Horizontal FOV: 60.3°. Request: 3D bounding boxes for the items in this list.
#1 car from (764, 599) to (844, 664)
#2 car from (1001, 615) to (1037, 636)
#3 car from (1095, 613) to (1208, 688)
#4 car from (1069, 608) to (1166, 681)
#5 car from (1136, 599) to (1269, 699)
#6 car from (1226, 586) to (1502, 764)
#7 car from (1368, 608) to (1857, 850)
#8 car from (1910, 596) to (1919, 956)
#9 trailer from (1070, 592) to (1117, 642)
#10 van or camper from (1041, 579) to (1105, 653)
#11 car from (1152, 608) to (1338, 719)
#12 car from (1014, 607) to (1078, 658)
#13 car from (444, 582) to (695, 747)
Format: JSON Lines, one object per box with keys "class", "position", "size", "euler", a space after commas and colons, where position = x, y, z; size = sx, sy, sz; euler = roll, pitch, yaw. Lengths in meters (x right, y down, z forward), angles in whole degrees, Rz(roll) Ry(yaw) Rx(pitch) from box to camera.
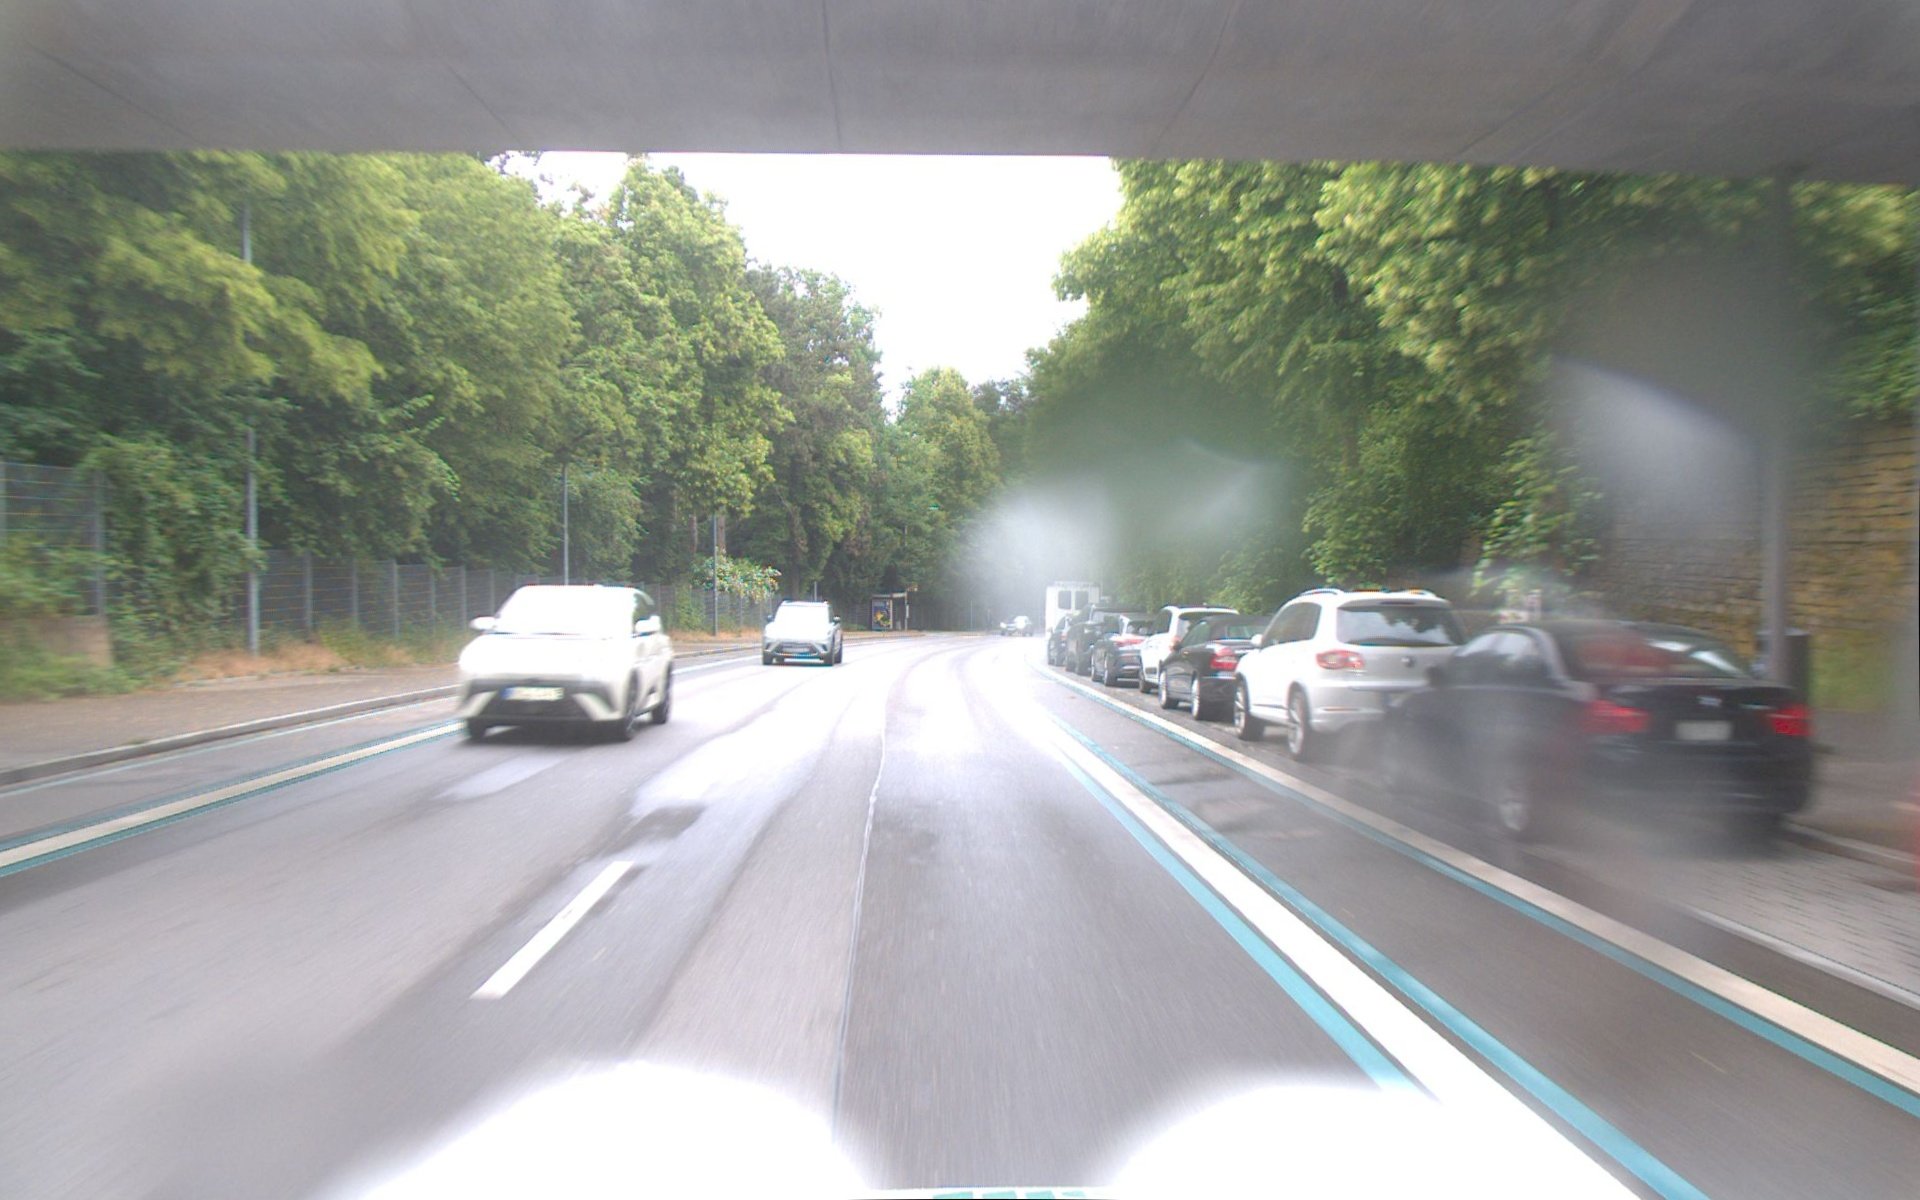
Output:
{"class": "car", "position": [-4.022, 0.814, 43.271], "size": [1.760, 1.604, 4.101], "euler": [0, -1, -1]}
{"class": "car", "position": [4.246, 1.802, 117.787], "size": [1.722, 1.462, 4.154], "euler": [1, -1, 14]}
{"class": "car", "position": [3.789, 0.988, 33.326], "size": [1.738, 1.372, 4.465], "euler": [1, -1, 0]}
{"class": "car", "position": [3.781, 1.090, 40.343], "size": [1.953, 1.674, 4.347], "euler": [1, -2, 0]}
{"class": "car", "position": [4.111, 0.813, 28.520], "size": [1.628, 1.562, 3.740], "euler": [1, -1, -2]}
{"class": "car", "position": [4.122, 0.718, 17.565], "size": [1.679, 1.647, 4.258], "euler": [1, -1, -3]}
{"class": "car", "position": [4.401, 0.803, 11.979], "size": [1.639, 1.418, 4.448], "euler": [1, -1, -2]}
{"class": "car", "position": [4.794, 0.775, 5.127], "size": [1.527, 1.492, 3.625], "euler": [1, 1, -2]}
{"class": "trailer", "position": [7.572, 0.965, 93.390], "size": [2.267, 2.719, 5.380], "euler": [1, -1, 8]}
{"class": "van or camper", "position": [4.471, 0.623, 64.493], "size": [2.268, 2.711, 6.386], "euler": [1, -1, 5]}
{"class": "car", "position": [3.904, 0.878, 23.378], "size": [1.683, 1.400, 4.556], "euler": [1, -2, -2]}
{"class": "car", "position": [2.447, 0.957, 47.986], "size": [1.644, 1.400, 3.999], "euler": [1, -1, 0]}
{"class": "car", "position": [-4.085, 0.615, 17.942], "size": [1.932, 1.579, 3.868], "euler": [0, 0, -2]}
